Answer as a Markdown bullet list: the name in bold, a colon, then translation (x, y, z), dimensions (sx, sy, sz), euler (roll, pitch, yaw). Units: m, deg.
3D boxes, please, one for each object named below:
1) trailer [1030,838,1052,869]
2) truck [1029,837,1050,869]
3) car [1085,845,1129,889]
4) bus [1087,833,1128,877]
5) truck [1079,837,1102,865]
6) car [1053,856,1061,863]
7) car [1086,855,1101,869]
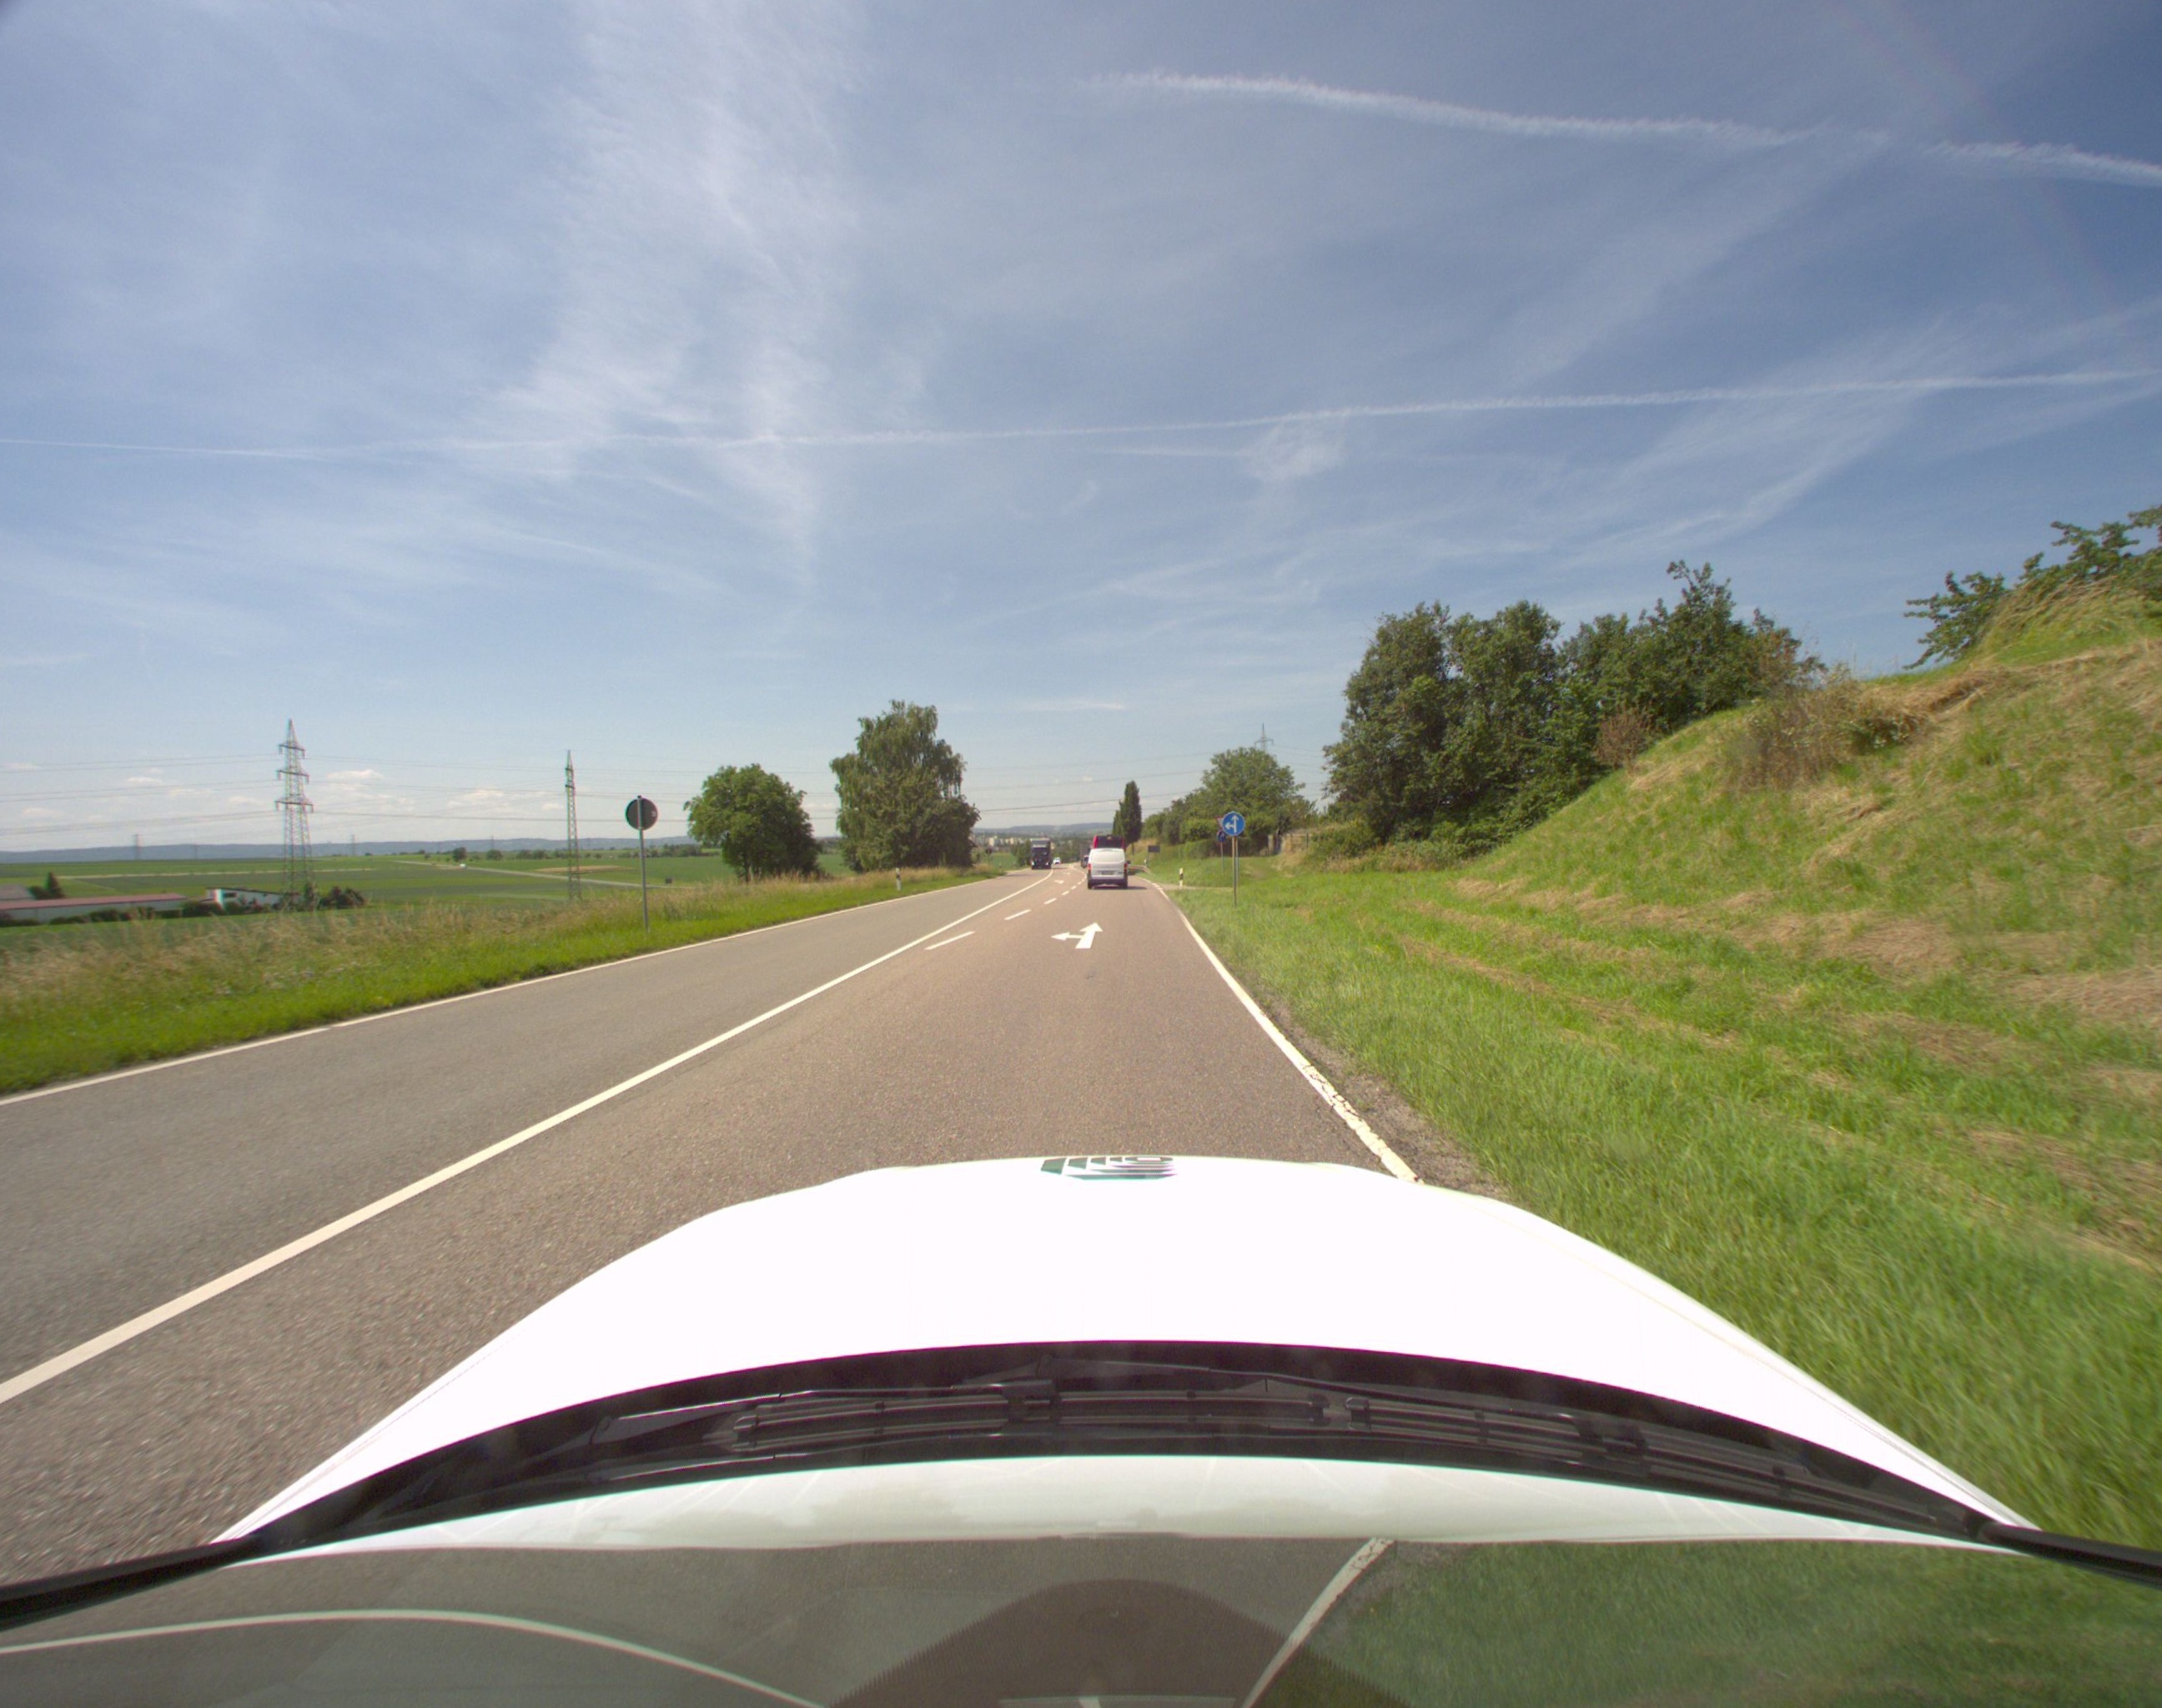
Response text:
- **trailer**: translation (-5.555, -0.051, 114.910), dimensions (2.585, 4.143, 13.735), euler (-1, 0, -1)
- **truck**: translation (-5.453, -0.085, 107.969), dimensions (2.578, 4.104, 5.439), euler (-1, 0, -1)
- **car**: translation (1.307, 0.580, 38.930), dimensions (1.915, 1.889, 4.004), euler (-3, 0, 3)
- **bus**: translation (2.190, -0.107, 71.326), dimensions (2.739, 3.353, 13.217), euler (-4, 1, -1)
- **truck**: translation (1.557, -0.458, 138.918), dimensions (3.476, 4.423, 14.902), euler (-2, 0, 1)
- **car**: translation (-6.313, 1.390, 212.093), dimensions (1.848, 1.565, 4.074), euler (-2, 0, 0)
- **car**: translation (1.706, 1.108, 111.784), dimensions (1.878, 1.817, 3.765), euler (-2, 0, 1)
